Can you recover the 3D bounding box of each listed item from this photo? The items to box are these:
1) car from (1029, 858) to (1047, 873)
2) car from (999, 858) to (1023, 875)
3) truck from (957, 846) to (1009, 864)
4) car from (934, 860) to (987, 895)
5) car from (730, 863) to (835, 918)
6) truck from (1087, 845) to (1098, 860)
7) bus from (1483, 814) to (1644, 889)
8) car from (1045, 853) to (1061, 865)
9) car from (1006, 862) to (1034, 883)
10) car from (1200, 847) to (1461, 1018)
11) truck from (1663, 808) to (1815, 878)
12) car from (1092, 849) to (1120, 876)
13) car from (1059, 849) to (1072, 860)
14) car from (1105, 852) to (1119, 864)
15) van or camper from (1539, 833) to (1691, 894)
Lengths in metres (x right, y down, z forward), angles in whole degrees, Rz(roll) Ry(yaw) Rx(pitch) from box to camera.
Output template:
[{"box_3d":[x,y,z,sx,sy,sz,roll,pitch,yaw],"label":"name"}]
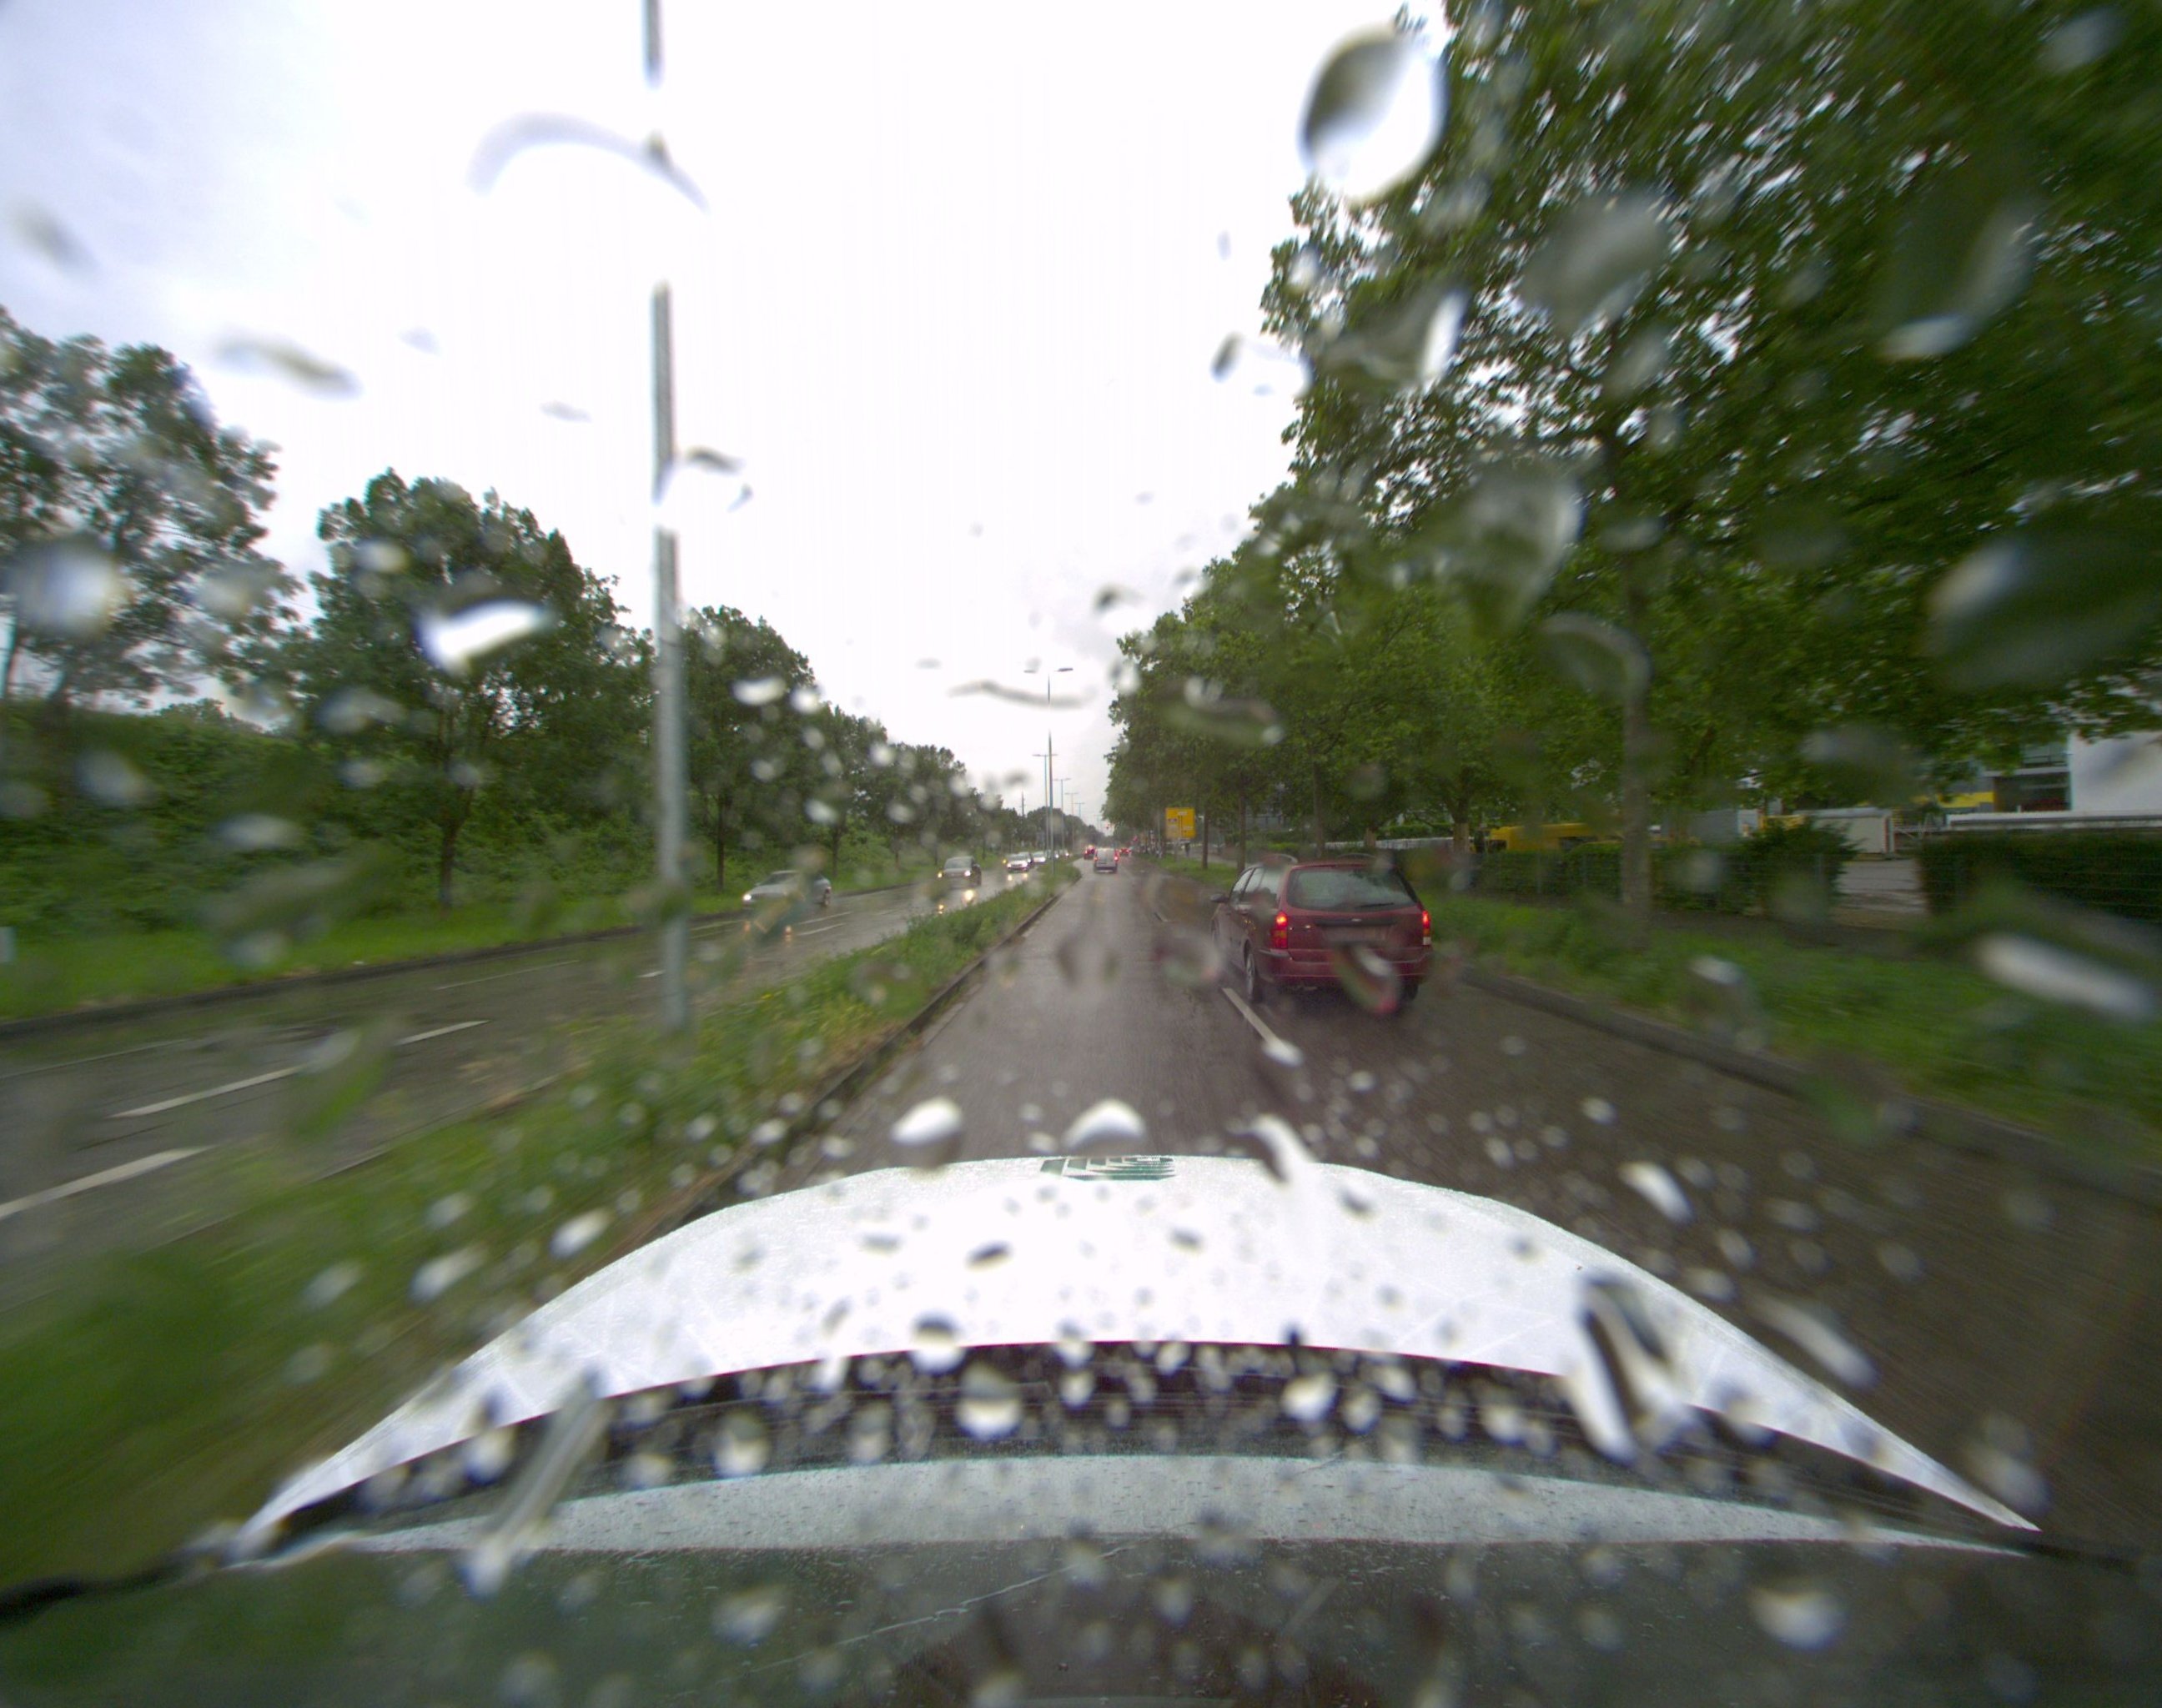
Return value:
[{"box_3d":[-4.852,1.288,91.876,1.904,1.574,4.703,-4,0,-3],"label":"car"},{"box_3d":[-7.775,1.405,90.974,1.986,1.687,4.711,-3,0,2],"label":"car"},{"box_3d":[-19.260,0.161,160.408,10.184,3.452,2.629,0,-2,-35],"label":"truck"},{"box_3d":[-6.314,1.184,43.074,1.891,1.613,4.115,-4,0,3],"label":"car"},{"box_3d":[-10.167,1.195,28.157,1.892,1.613,4.478,-2,0,0],"label":"car"},{"box_3d":[1.854,-0.289,134.000,1.750,2.466,4.000,-1,0,0],"label":"truck"},{"box_3d":[17.922,-0.091,30.421,4.773,2.647,2.001,-1,0,2],"label":"bus"},{"box_3d":[-4.046,0.692,117.975,1.901,1.574,4.711,-4,0,2],"label":"car"},{"box_3d":[-5.153,1.561,69.103,1.892,1.613,4.112,-2,0,1],"label":"car"},{"box_3d":[2.563,0.717,9.440,1.833,1.537,4.112,0,0,1],"label":"car"},{"box_3d":[31.654,-0.440,39.010,9.539,3.032,3.048,0,-2,-35],"label":"truck"},{"box_3d":[1.868,0.666,61.524,1.987,2.014,4.000,-1,-1,0],"label":"car"},{"box_3d":[-2.725,0.079,143.814,1.817,1.574,4.364,4,5,2],"label":"car"},{"box_3d":[4.241,0.541,111.967,1.703,1.549,4.000,-1,1,0],"label":"car"},{"box_3d":[17.803,0.305,27.284,3.978,1.907,1.800,-1,0,-3],"label":"van or camper"}]
